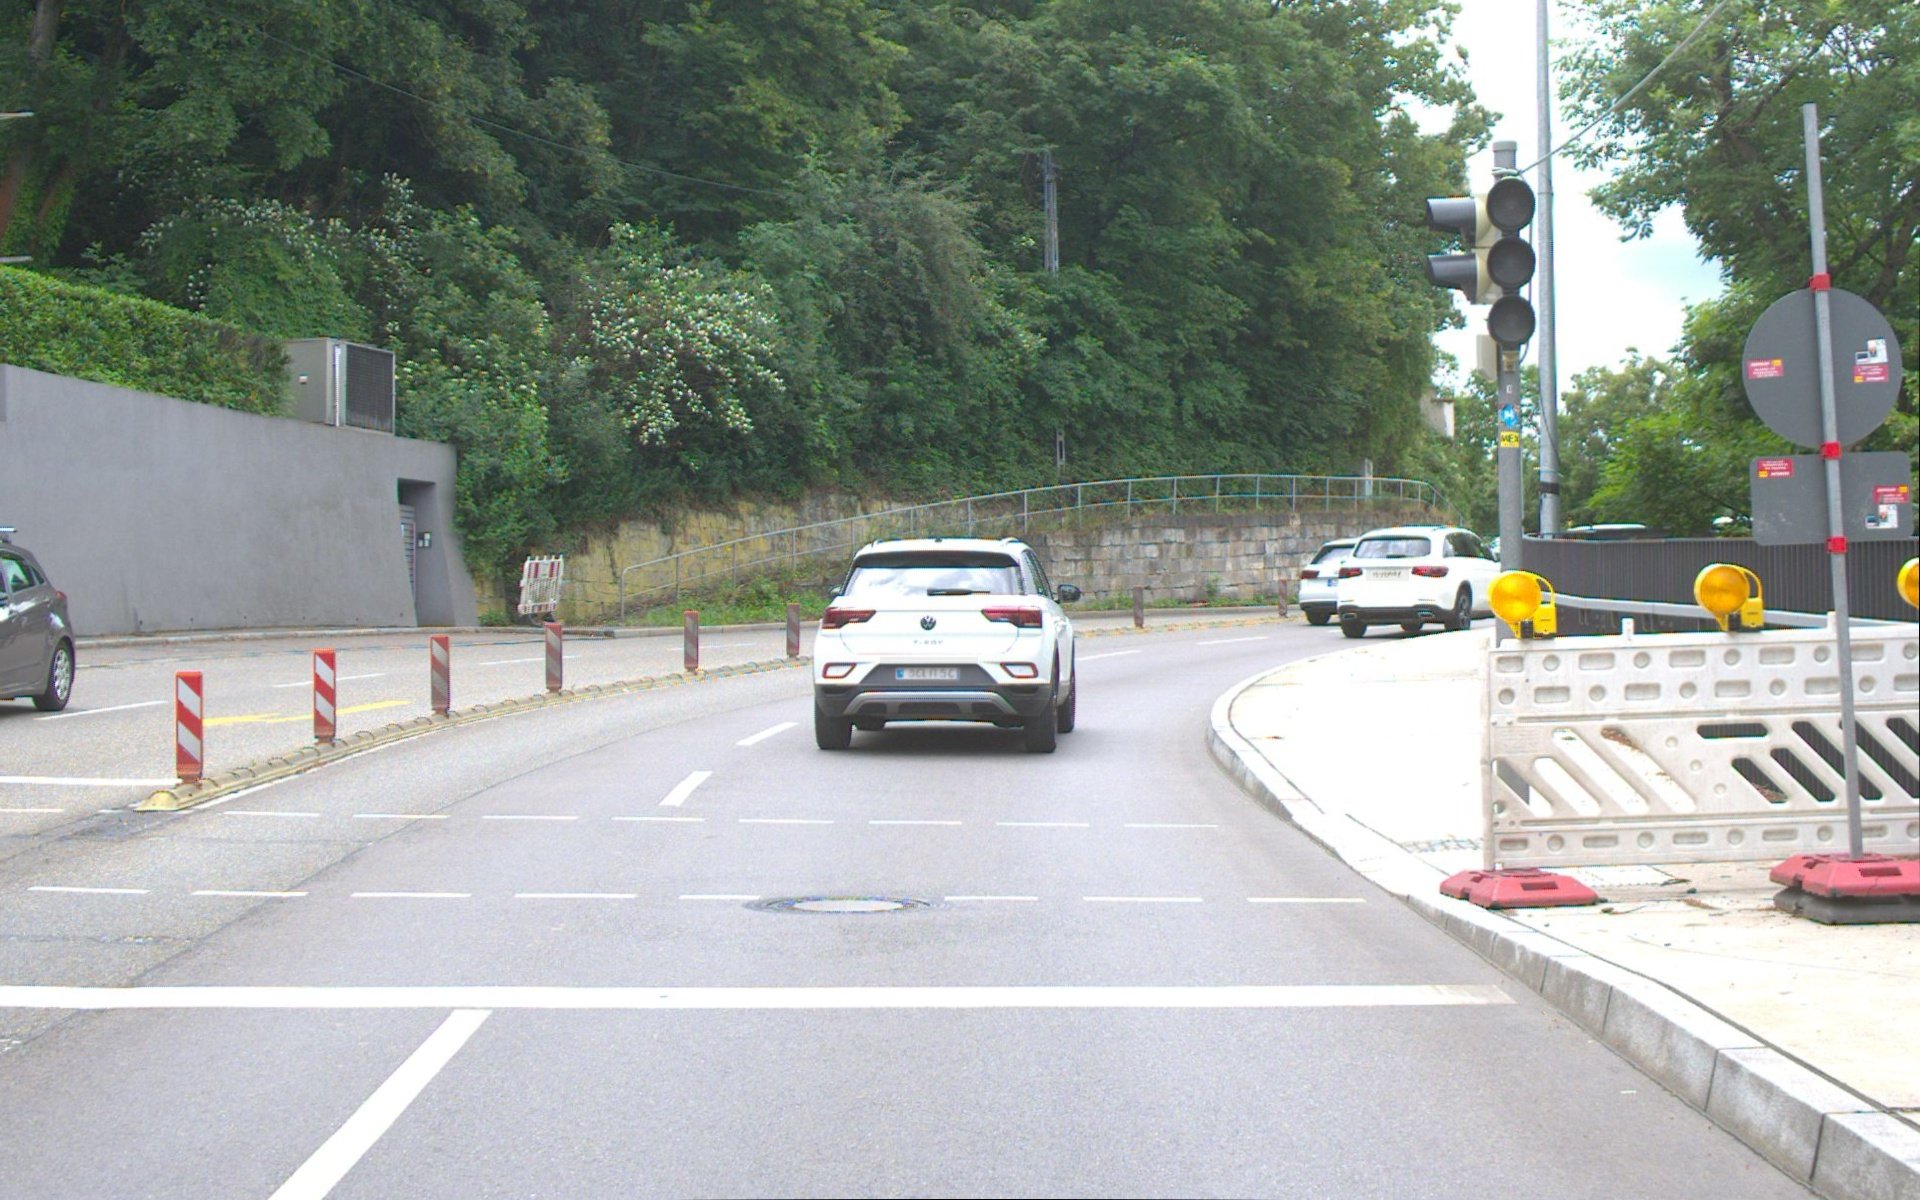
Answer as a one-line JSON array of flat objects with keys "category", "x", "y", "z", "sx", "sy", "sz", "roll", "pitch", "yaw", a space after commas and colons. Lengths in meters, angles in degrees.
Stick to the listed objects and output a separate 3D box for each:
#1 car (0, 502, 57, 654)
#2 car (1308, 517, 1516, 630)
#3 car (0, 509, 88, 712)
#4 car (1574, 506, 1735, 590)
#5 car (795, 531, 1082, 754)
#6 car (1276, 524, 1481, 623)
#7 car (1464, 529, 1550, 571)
[{"category": "car", "x": -10.921, "y": -0.253, "z": 34.714, "sx": 1.833, "sy": 1.567, "sz": 4.474, "roll": 2, "pitch": 1, "yaw": 8}, {"category": "car", "x": 6.877, "y": -0.385, "z": 51.943, "sx": 1.996, "sy": 1.581, "sz": 3.995, "roll": 2, "pitch": 1, "yaw": 24}, {"category": "car", "x": -8.359, "y": 0.063, "z": 27.423, "sx": 1.711, "sy": 1.592, "sz": 4.207, "roll": 1, "pitch": 1, "yaw": 0}, {"category": "car", "x": 13.866, "y": -1.024, "z": 68.487, "sx": 1.997, "sy": 1.535, "sz": 4.003, "roll": 2, "pitch": 1, "yaw": 29}, {"category": "car", "x": -0.088, "y": 0.260, "z": 26.197, "sx": 1.867, "sy": 1.531, "sz": 3.803, "roll": 1, "pitch": 1, "yaw": 4}, {"category": "car", "x": 7.128, "y": -0.432, "z": 58.275, "sx": 1.910, "sy": 1.568, "sz": 3.993, "roll": 2, "pitch": 1, "yaw": 32}, {"category": "car", "x": 21.665, "y": -1.998, "z": 136.328, "sx": 1.906, "sy": 1.568, "sz": 4.001, "roll": 2, "pitch": 1, "yaw": -13}]
